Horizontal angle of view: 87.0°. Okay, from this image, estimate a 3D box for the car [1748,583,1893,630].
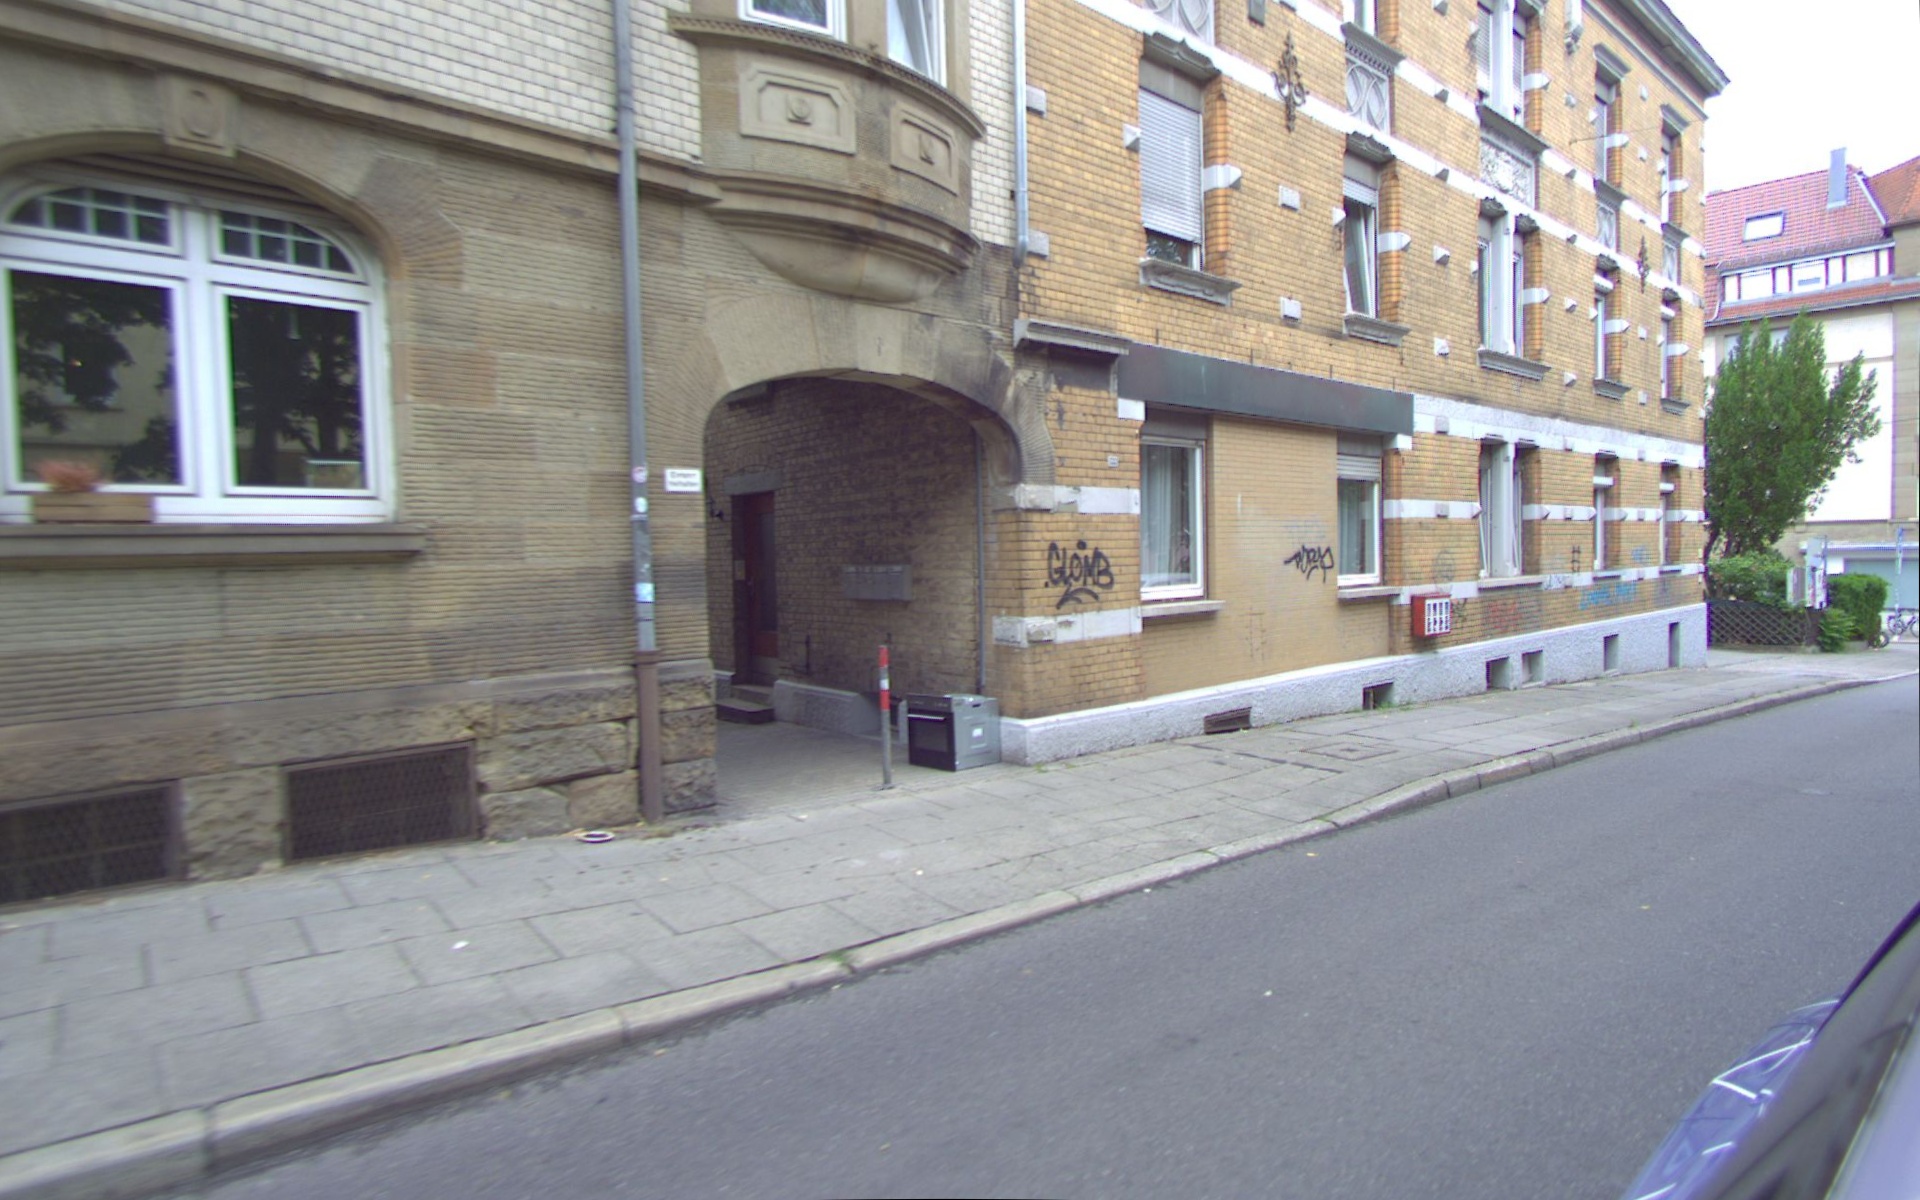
[{"bbox_3d":[34.567,0.244,40.732,4.362,1.665,1.760,0,5,44],"label":"car"}]

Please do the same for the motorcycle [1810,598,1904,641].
[{"bbox_3d":[27.726,0.585,31.304,0.992,1.284,2.059,0,-1,-39],"label":"motorcycle"}]

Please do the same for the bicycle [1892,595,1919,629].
[{"bbox_3d":[36.977,0.470,38.924,0.631,1.153,2.071,-3,4,10],"label":"bicycle"}]

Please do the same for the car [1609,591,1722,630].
[{"bbox_3d":[30.839,0.446,44.289,3.861,1.480,1.663,0,5,44],"label":"car"}]
